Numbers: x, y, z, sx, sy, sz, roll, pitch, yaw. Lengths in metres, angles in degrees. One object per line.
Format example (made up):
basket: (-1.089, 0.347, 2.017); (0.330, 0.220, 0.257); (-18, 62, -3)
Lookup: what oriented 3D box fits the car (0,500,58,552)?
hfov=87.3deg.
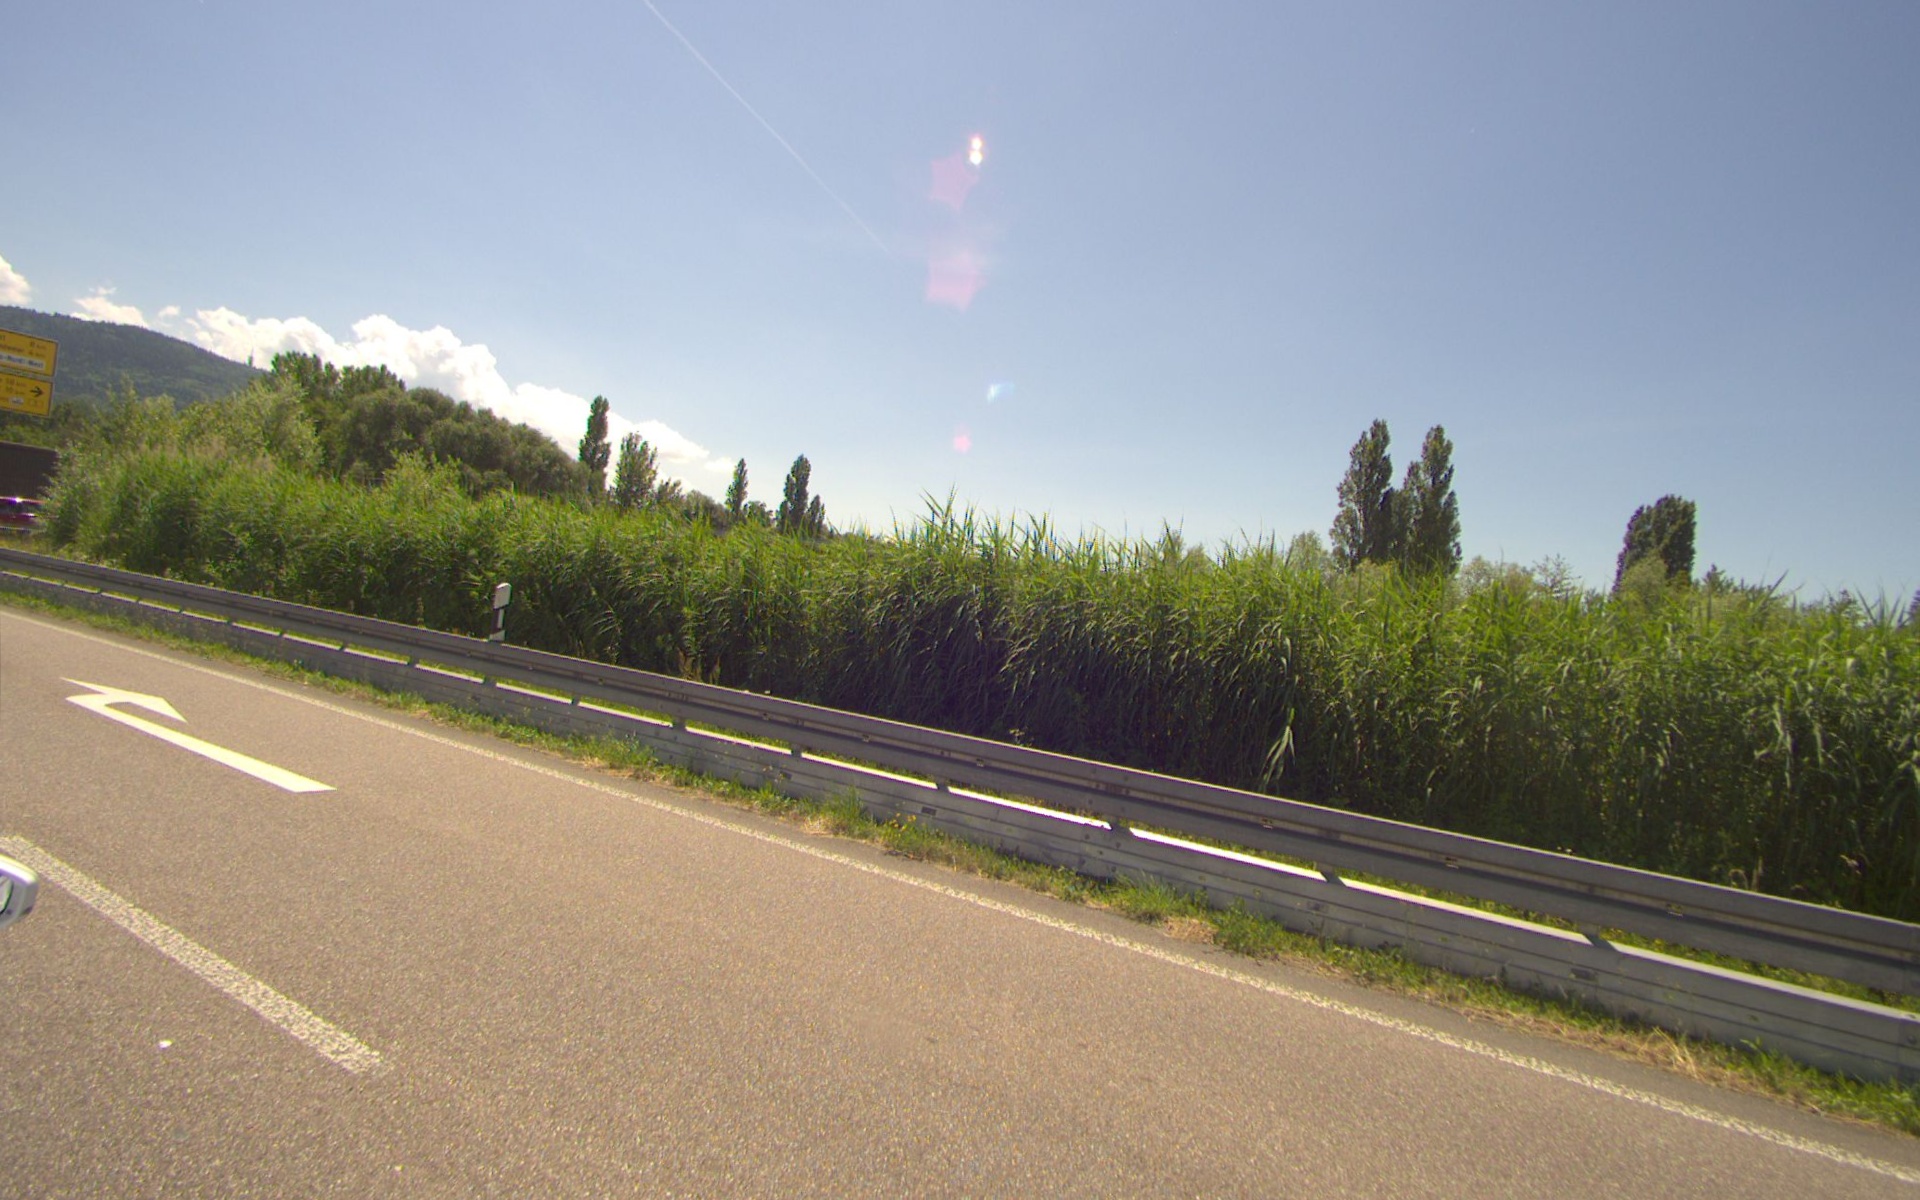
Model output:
car: (-36.314, -2.952, 36.897); (1.966, 1.676, 4.320); (7, -2, 28)
